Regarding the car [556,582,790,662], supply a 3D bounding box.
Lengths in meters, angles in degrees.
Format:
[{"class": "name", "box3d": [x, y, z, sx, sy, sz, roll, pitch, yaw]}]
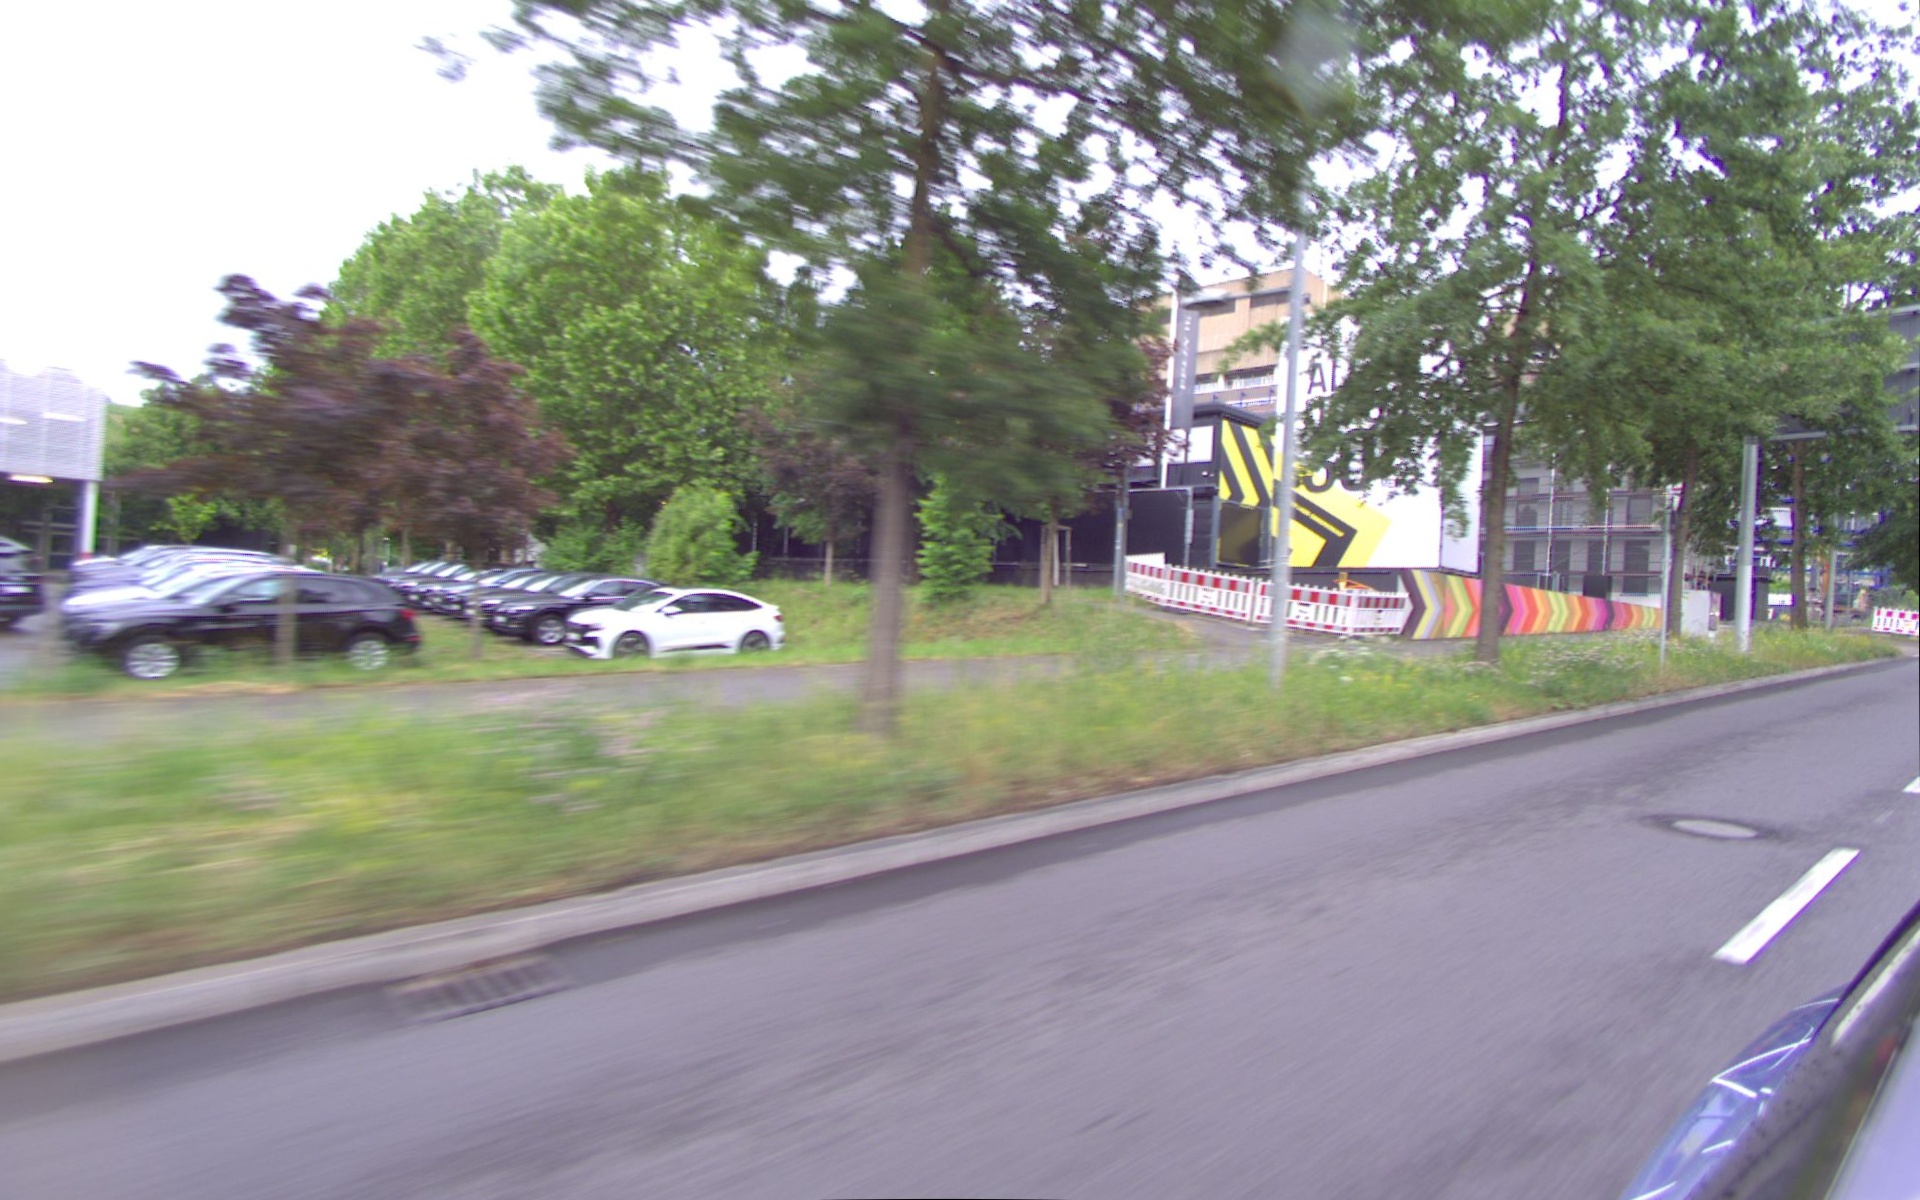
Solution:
[{"class": "car", "box3d": [-5.858, 0.395, 20.976, 4.385, 1.503, 1.700, -1, 0, -42]}]

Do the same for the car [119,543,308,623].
[{"class": "car", "box3d": [-17.565, -0.413, 23.862, 3.461, 1.696, 1.701, 0, 4, -42]}]

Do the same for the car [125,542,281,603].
[{"class": "car", "box3d": [-22.254, -0.767, 29.815, 3.579, 1.697, 1.700, 0, 0, -42]}]

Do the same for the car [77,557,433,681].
[{"class": "car", "box3d": [-11.207, 0.217, 16.279, 4.511, 1.696, 1.906, -1, 3, -42]}]

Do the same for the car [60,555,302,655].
[{"class": "car", "box3d": [-14.935, 0.040, 19.509, 3.579, 1.696, 1.701, 0, 4, -42]}]

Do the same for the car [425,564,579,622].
[{"class": "car", "box3d": [-12.724, -0.193, 28.205, 3.579, 1.503, 1.700, 0, 0, -42]}]

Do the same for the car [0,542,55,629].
[{"class": "car", "box3d": [-21.286, -0.462, 20.430, 4.447, 1.697, 1.702, 5, -1, 1]}]

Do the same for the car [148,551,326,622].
[{"class": "car", "box3d": [-18.555, -0.328, 26.051, 3.579, 1.697, 1.700, 0, 0, -42]}]

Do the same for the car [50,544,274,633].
[{"class": "car", "box3d": [-16.664, -0.208, 21.228, 3.579, 1.697, 1.699, 0, -1, -42]}]

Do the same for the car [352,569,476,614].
[{"class": "car", "box3d": [-19.371, -0.306, 35.966, 3.579, 1.503, 1.700, 0, 0, -42]}]

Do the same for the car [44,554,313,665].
[{"class": "car", "box3d": [-13.542, 0.107, 17.647, 3.579, 1.696, 1.701, 0, 3, -42]}]

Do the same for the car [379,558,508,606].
[{"class": "car", "box3d": [-17.330, -0.586, 34.017, 3.579, 1.503, 1.700, 0, 0, -42]}]

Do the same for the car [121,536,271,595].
[{"class": "car", "box3d": [-23.585, -1.018, 31.299, 3.579, 1.697, 1.700, 0, 0, -42]}]

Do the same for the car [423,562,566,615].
[{"class": "car", "box3d": [-13.951, -0.327, 30.390, 3.579, 1.503, 1.700, 0, 0, -42]}]

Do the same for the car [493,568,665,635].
[{"class": "car", "box3d": [-9.254, 0.026, 24.726, 3.579, 1.503, 1.700, 0, 0, -42]}]

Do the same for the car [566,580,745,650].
[{"class": "car", "box3d": [-6.972, 0.304, 23.342, 3.579, 1.503, 1.700, 0, 0, -42]}]

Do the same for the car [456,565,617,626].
[{"class": "car", "box3d": [-11.123, -0.122, 26.665, 3.579, 1.503, 1.700, 0, 0, -42]}]

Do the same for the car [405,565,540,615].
[{"class": "car", "box3d": [-15.503, -0.322, 32.263, 3.579, 1.503, 1.700, 0, 0, -42]}]

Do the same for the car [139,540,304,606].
[{"class": "car", "box3d": [-20.564, -0.716, 28.231, 3.579, 1.697, 1.700, 0, 0, -42]}]
